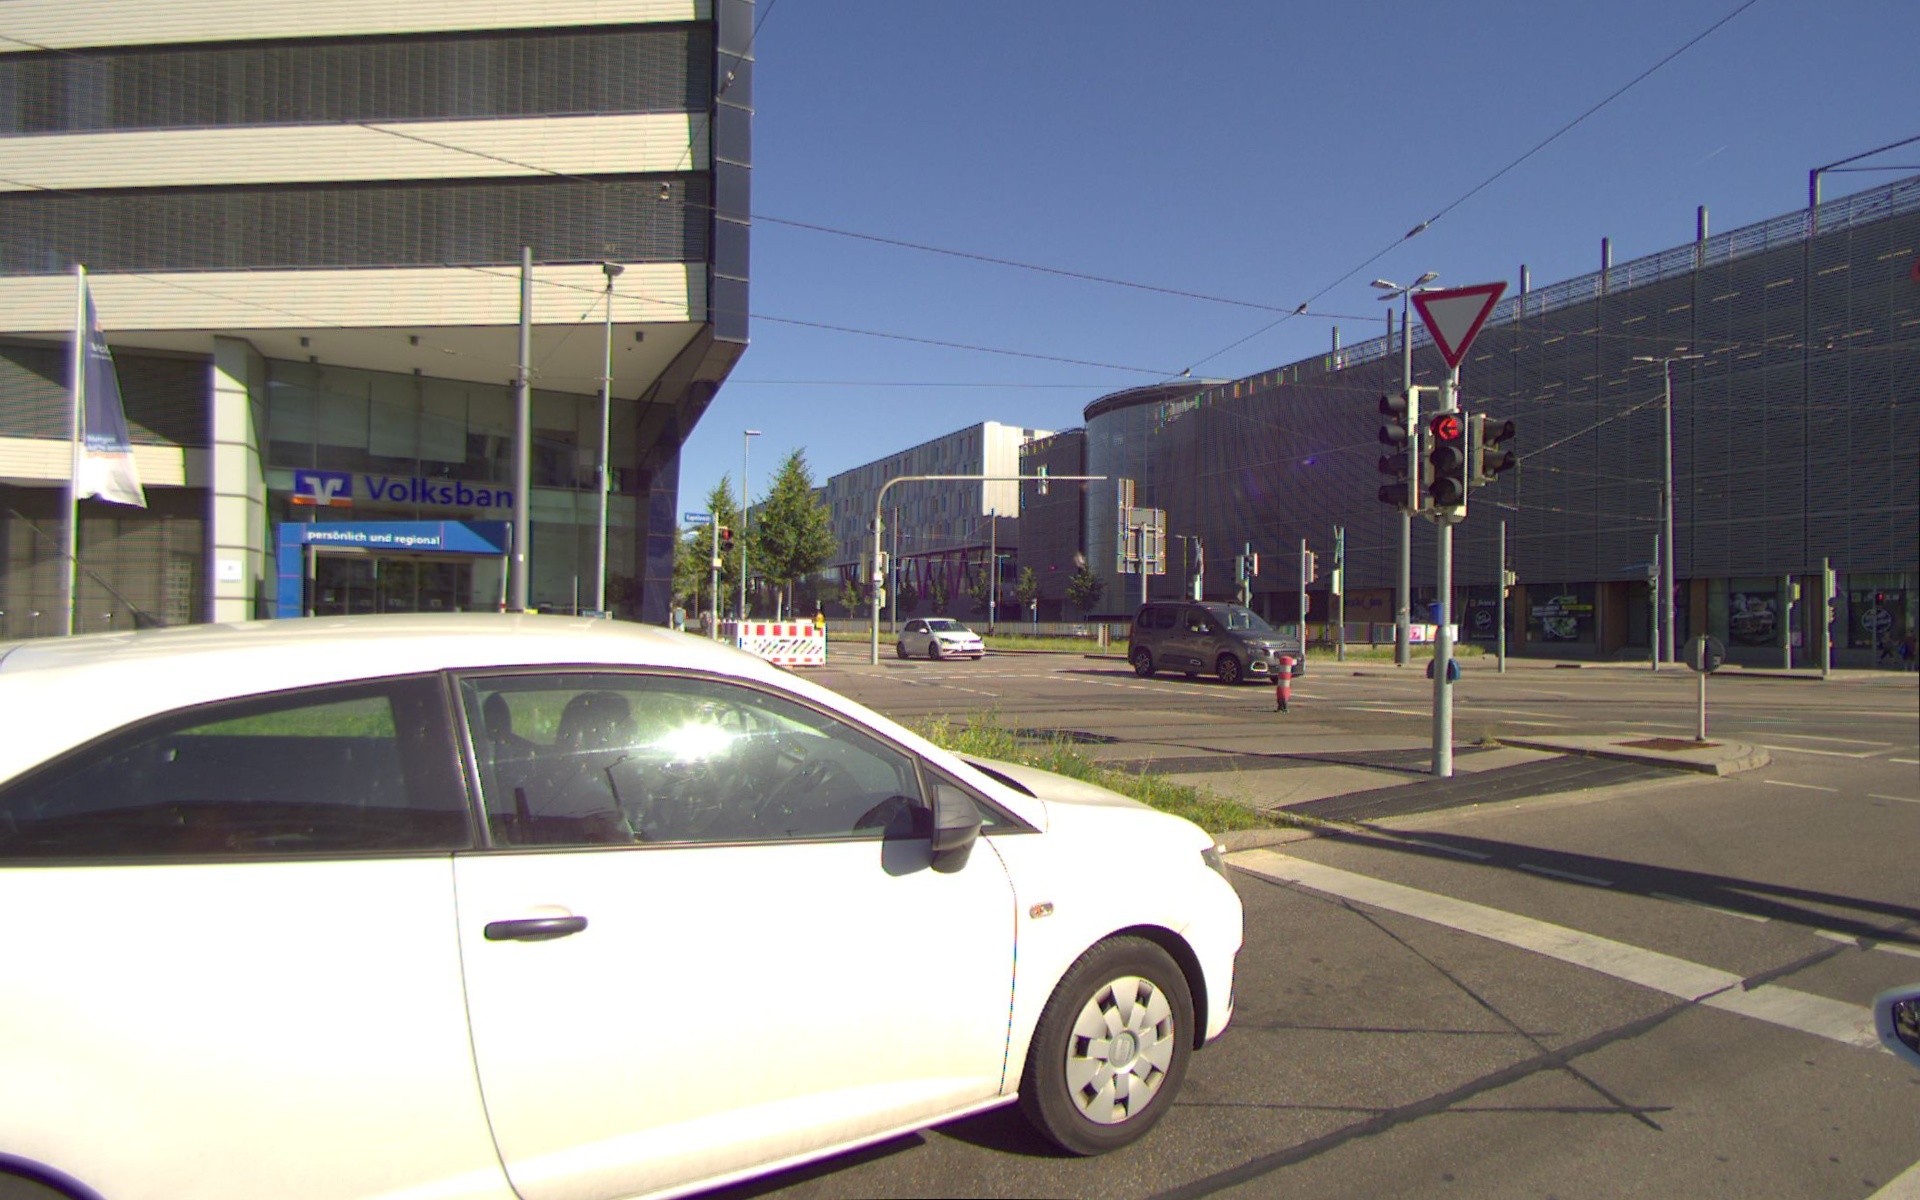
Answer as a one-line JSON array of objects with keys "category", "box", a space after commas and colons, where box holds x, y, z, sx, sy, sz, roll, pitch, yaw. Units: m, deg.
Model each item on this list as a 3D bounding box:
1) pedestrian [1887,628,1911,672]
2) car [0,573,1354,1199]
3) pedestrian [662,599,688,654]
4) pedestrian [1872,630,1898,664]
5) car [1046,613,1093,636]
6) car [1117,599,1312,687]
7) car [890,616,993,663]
[{"category": "pedestrian", "box": [39.968, 2.118, 42.736, 0.687, 1.821, 0.726, -2, -3, 44]}, {"category": "car", "box": [-0.956, 0.741, 2.795, 3.977, 1.460, 1.723, 2, 1, -31]}, {"category": "pedestrian", "box": [-9.058, 0.862, 31.900, 0.729, 1.719, 0.805, 0, -2, -20]}, {"category": "pedestrian", "box": [44.550, 2.267, 48.375, 0.584, 1.622, 0.661, 2, 0, -11]}, {"category": "car", "box": [9.560, 2.100, 87.863, 1.819, 1.666, 4.268, 2, 2, -30]}, {"category": "car", "box": [5.701, 0.914, 23.022, 1.690, 1.815, 4.435, 1, -1, -31]}, {"category": "car", "box": [-0.707, 1.321, 34.652, 1.842, 1.492, 4.265, 1, -1, -28]}]
